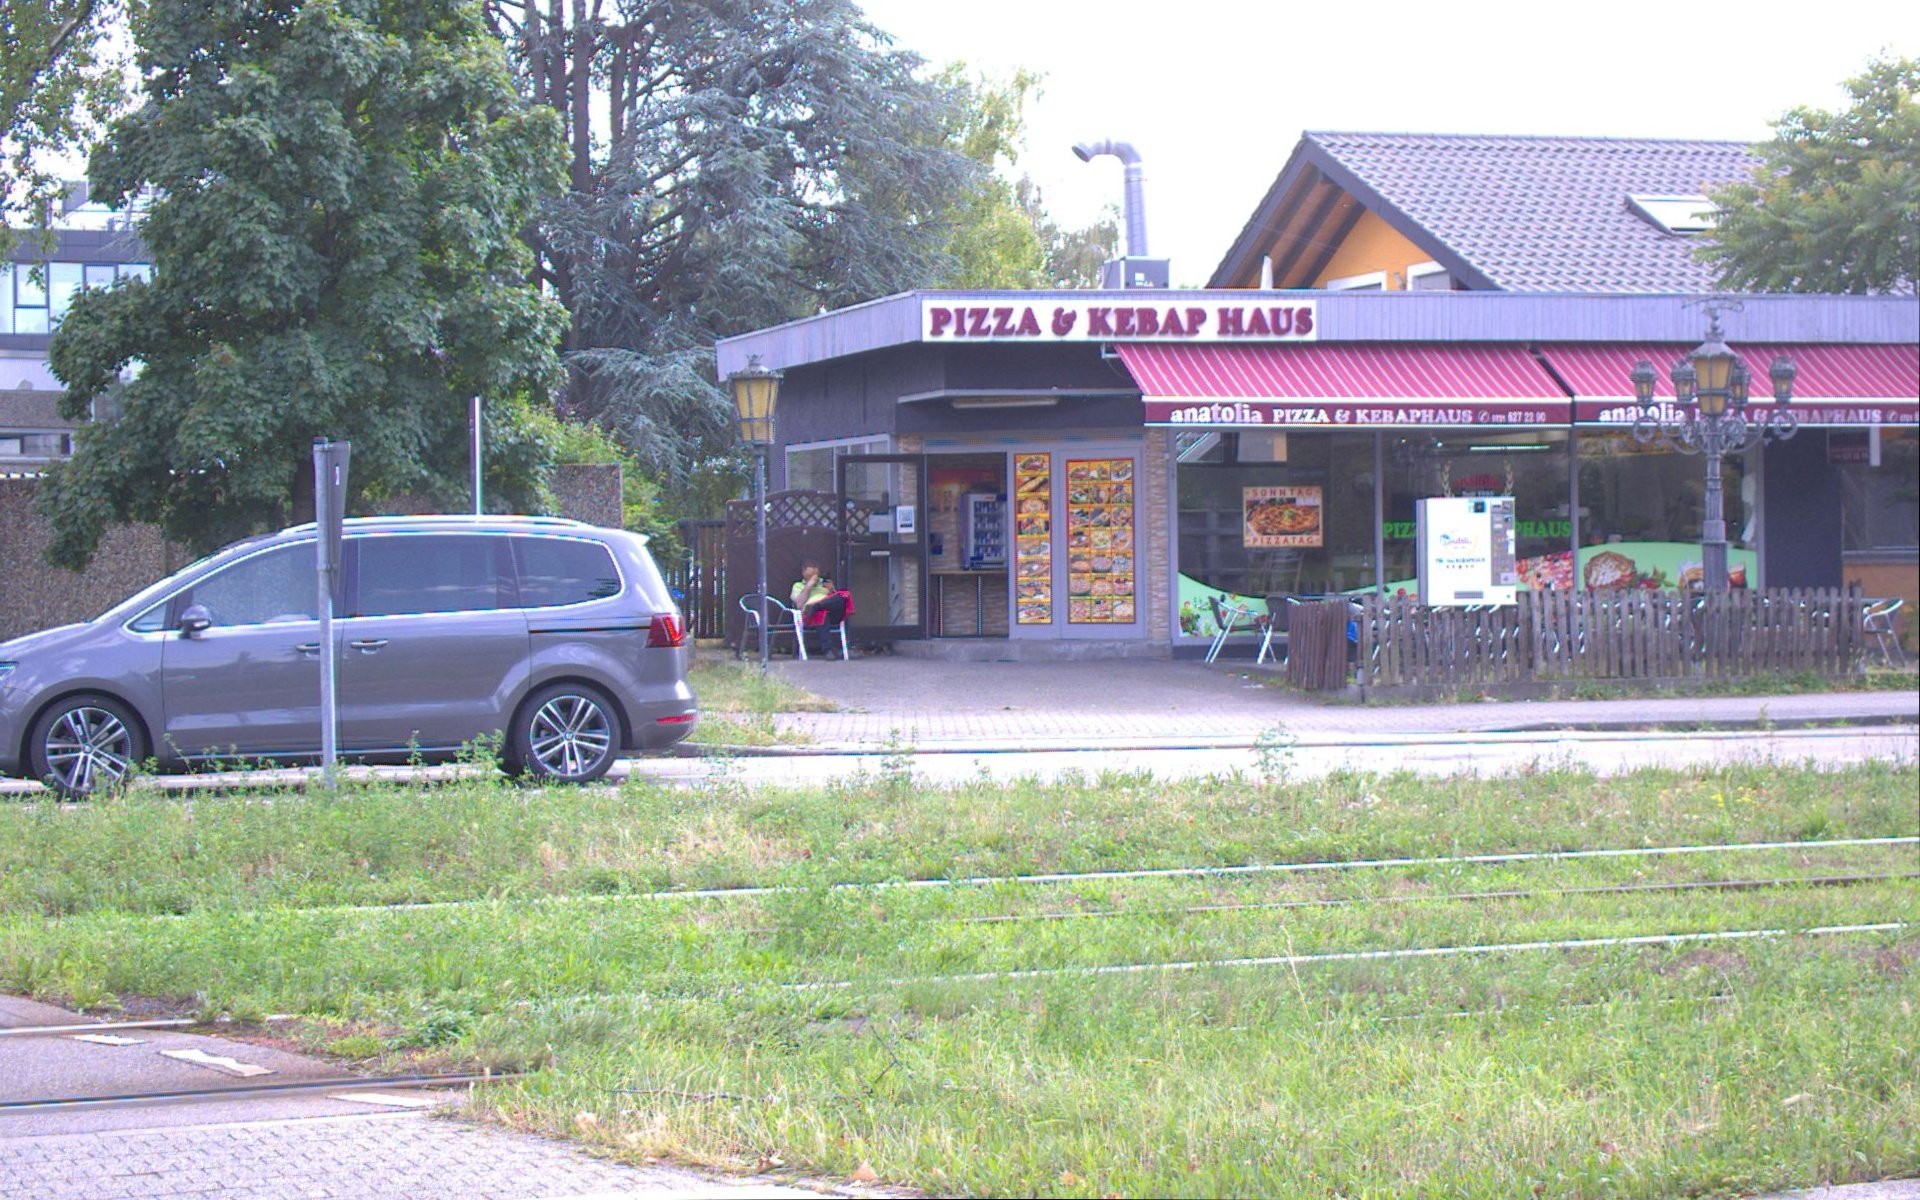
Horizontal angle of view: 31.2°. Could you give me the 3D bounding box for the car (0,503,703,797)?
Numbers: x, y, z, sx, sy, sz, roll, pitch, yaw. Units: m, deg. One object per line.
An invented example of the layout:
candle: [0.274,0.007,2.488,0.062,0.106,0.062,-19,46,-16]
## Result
car: [-4.159,0.270,21.824,4.723,1.716,2.001,-1,1,-16]

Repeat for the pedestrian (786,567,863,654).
pedestrian: [-1.504,0.114,37.971,0.724,0.926,0.777,0,3,-12]
